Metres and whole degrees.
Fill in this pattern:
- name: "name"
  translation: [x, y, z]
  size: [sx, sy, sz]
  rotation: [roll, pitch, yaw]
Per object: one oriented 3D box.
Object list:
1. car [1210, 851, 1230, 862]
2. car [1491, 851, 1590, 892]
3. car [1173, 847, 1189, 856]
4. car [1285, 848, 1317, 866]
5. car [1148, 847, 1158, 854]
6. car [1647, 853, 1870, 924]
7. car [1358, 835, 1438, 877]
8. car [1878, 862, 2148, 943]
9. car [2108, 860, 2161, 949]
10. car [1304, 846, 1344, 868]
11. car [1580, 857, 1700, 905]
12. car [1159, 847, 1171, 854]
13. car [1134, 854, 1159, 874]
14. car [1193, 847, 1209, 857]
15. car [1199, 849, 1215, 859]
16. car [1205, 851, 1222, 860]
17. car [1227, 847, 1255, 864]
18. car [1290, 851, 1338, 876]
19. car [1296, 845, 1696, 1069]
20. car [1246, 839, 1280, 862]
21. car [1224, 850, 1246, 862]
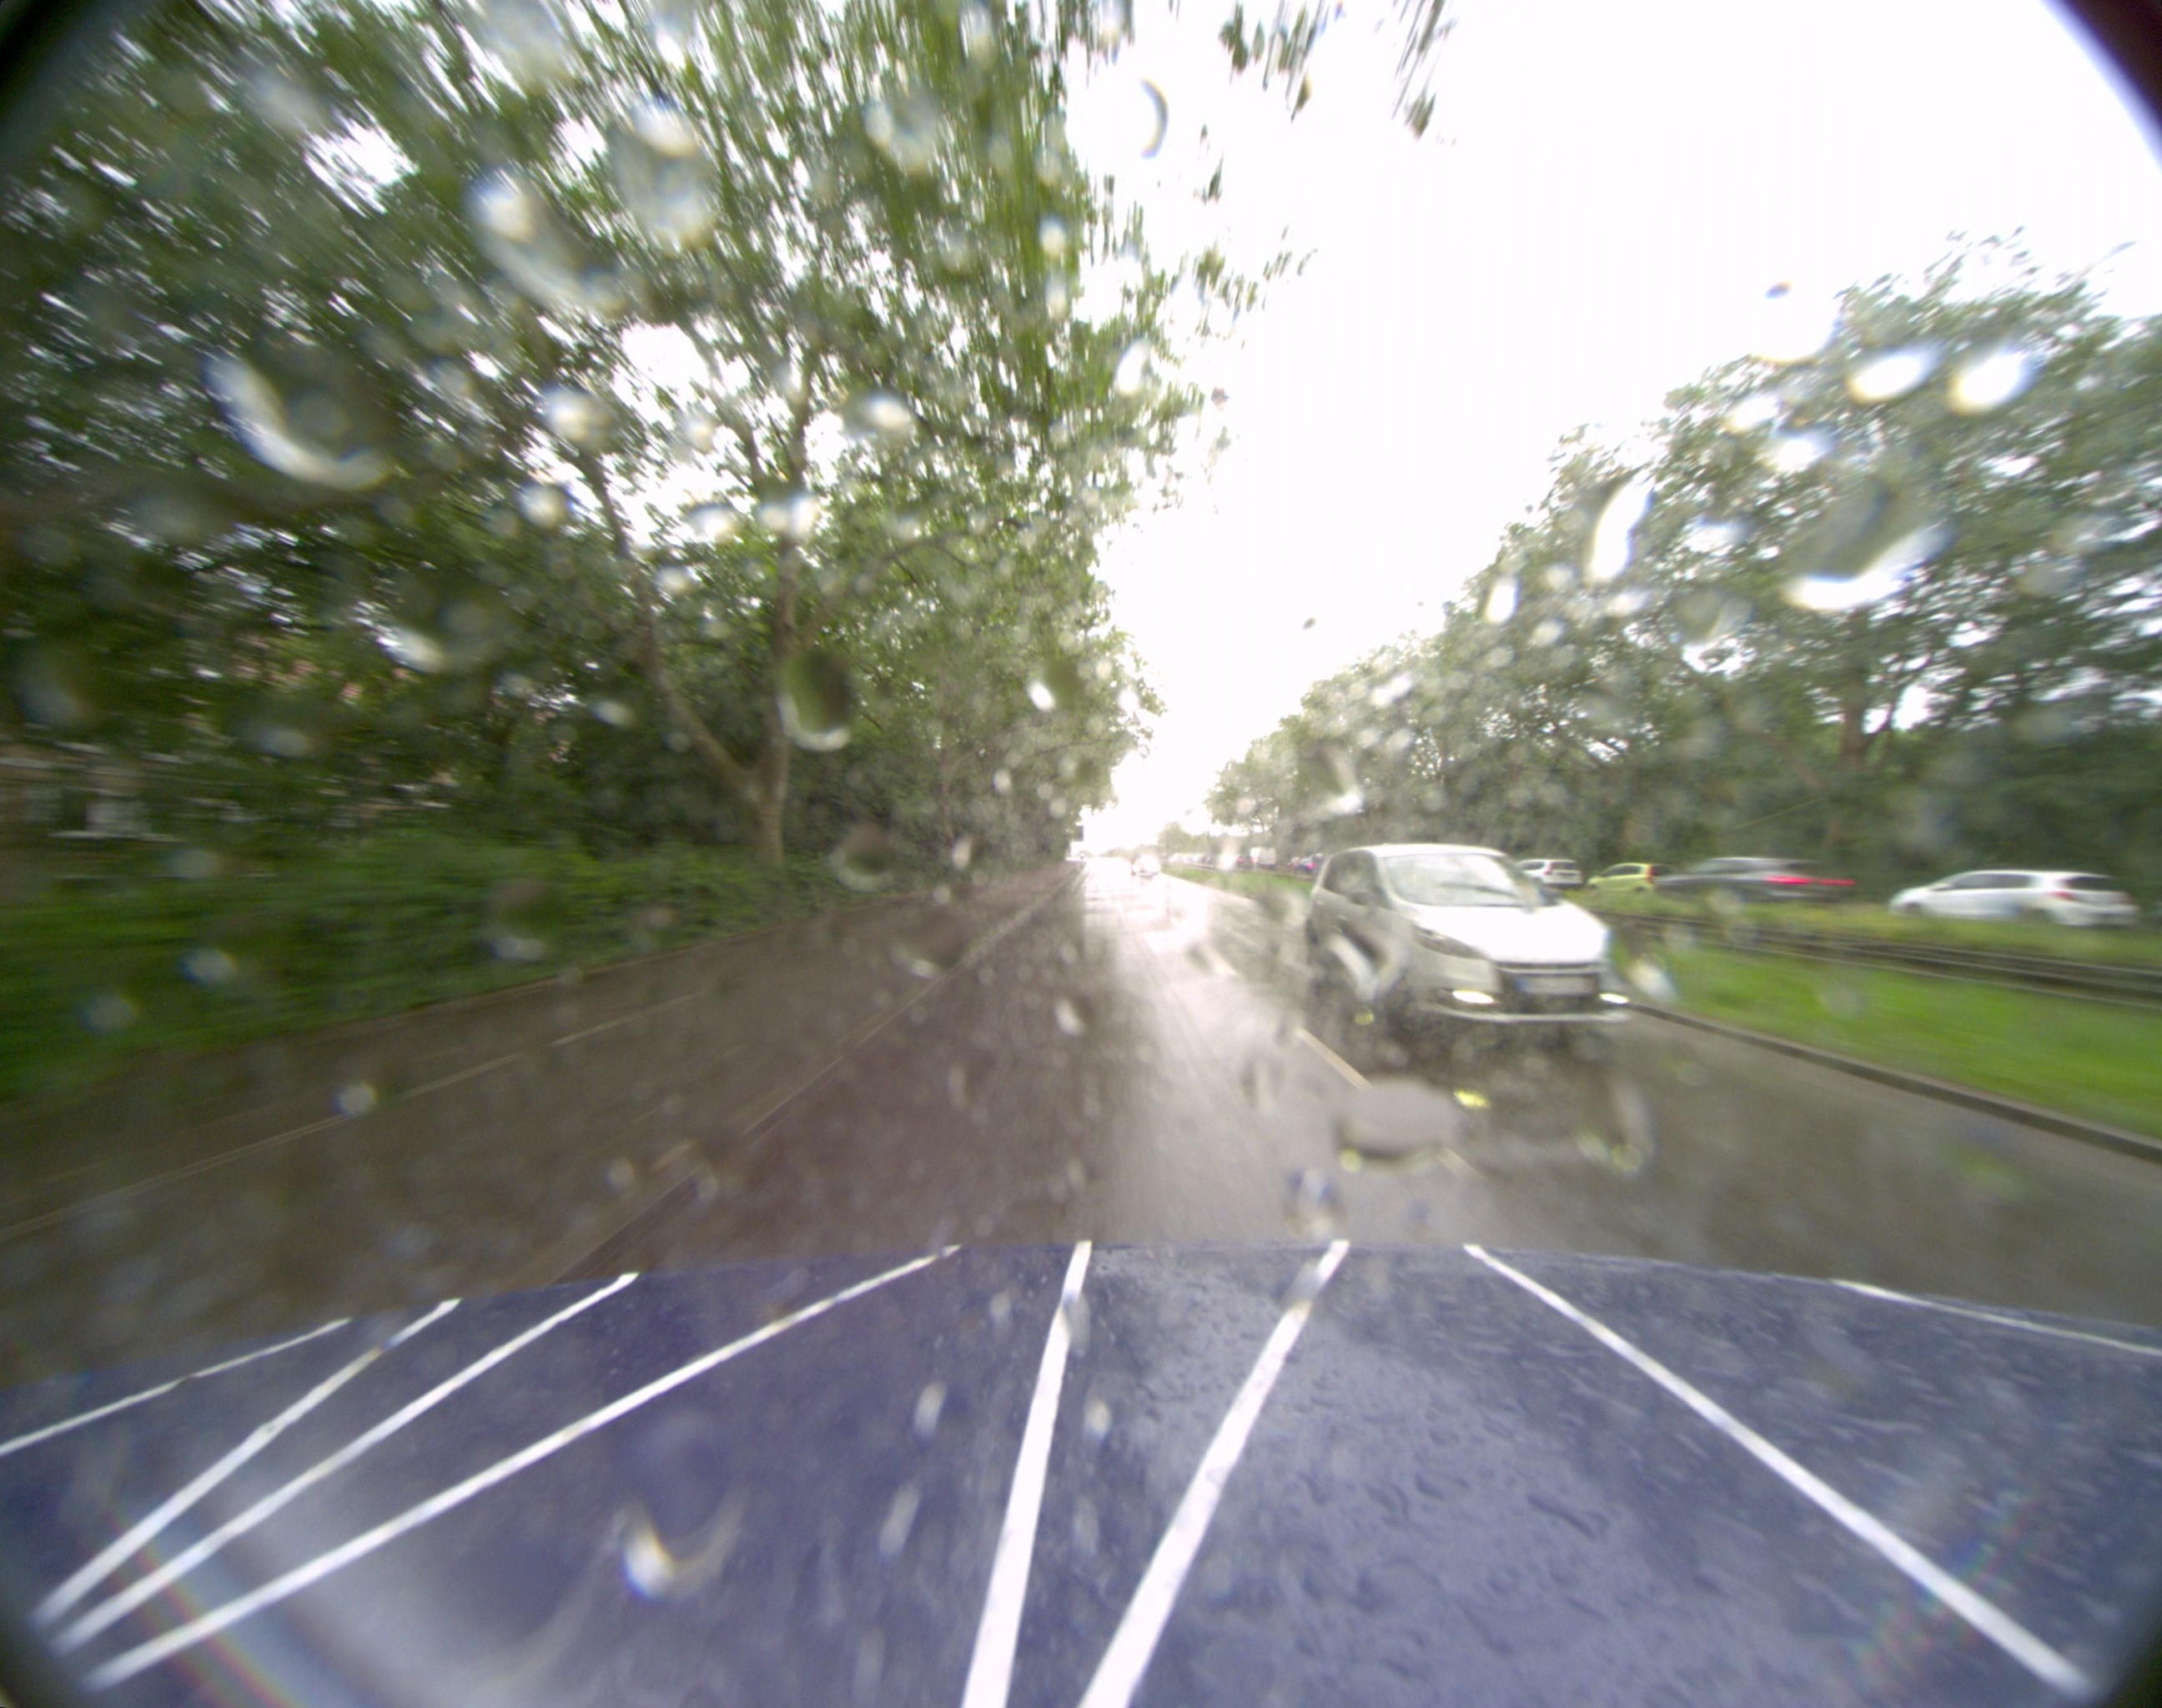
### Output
- name: "car"
  translation: [20.996, 0.297, 115.015]
  size: [2.039, 1.543, 4.383]
  rotation: [1, 1, -1]
- name: "car"
  translation: [21.295, 0.761, 35.453]
  size: [1.755, 1.718, 4.530]
  rotation: [1, 1, -2]
- name: "car"
  translation: [17.914, -0.477, 136.353]
  size: [1.983, 1.558, 4.767]
  rotation: [1, 1, -1]
- name: "car"
  translation: [20.944, 0.254, 72.418]
  size: [1.822, 1.543, 4.024]
  rotation: [1, 1, 0]
- name: "car"
  translation: [18.223, -0.922, 192.139]
  size: [2.039, 1.543, 4.996]
  rotation: [2, 0, -1]
- name: "car"
  translation: [18.150, 0.840, 20.709]
  size: [2.019, 1.648, 4.394]
  rotation: [1, 1, -2]
- name: "car"
  translation: [21.049, 0.091, 50.837]
  size: [2.396, 2.526, 6.564]
  rotation: [1, 1, -2]
- name: "car"
  translation: [22.268, 1.072, 18.426]
  size: [1.766, 1.639, 3.812]
  rotation: [1, 1, -2]
- name: "car"
  translation: [22.325, 1.041, 13.376]
  size: [2.037, 1.741, 4.693]
  rotation: [1, 1, -2]
- name: "car"
  translation: [21.126, 0.232, 66.341]
  size: [1.962, 1.851, 4.640]
  rotation: [1, 1, 0]
- name: "car"
  translation: [21.667, 1.006, 29.678]
  size: [1.766, 1.639, 3.812]
  rotation: [1, 1, -2]
- name: "car"
  translation: [17.506, -0.701, 158.109]
  size: [2.038, 1.543, 4.566]
  rotation: [0, 1, 0]
- name: "car"
  translation: [4.986, 0.742, 57.986]
  size: [1.726, 1.425, 3.852]
  rotation: [0, 1, 2]
- name: "car"
  translation: [20.911, -0.365, 132.602]
  size: [1.890, 1.502, 4.578]
  rotation: [1, 1, -1]
- name: "car"
  translation: [20.855, -0.056, 126.132]
  size: [1.890, 1.641, 4.368]
  rotation: [1, 1, 0]
- name: "car"
  translation: [20.942, 0.241, 120.112]
  size: [1.890, 1.371, 3.965]
  rotation: [1, 1, 0]
- name: "car"
  translation: [17.111, 0.098, 81.476]
  size: [2.037, 1.741, 4.258]
  rotation: [1, 1, -2]
- name: "car"
  translation: [17.571, 0.710, 57.485]
  size: [2.037, 1.741, 4.693]
  rotation: [1, 1, -2]
- name: "car"
  translation: [3.616, 0.735, 7.659]
  size: [1.869, 1.614, 4.263]
  rotation: [-1, 1, 3]
- name: "car"
  translation: [21.028, -0.441, 88.057]
  size: [2.335, 2.432, 6.138]
  rotation: [1, 1, 0]
- name: "car"
  translation: [20.949, 0.203, 103.674]
  size: [2.039, 1.543, 4.383]
  rotation: [1, 1, -1]
